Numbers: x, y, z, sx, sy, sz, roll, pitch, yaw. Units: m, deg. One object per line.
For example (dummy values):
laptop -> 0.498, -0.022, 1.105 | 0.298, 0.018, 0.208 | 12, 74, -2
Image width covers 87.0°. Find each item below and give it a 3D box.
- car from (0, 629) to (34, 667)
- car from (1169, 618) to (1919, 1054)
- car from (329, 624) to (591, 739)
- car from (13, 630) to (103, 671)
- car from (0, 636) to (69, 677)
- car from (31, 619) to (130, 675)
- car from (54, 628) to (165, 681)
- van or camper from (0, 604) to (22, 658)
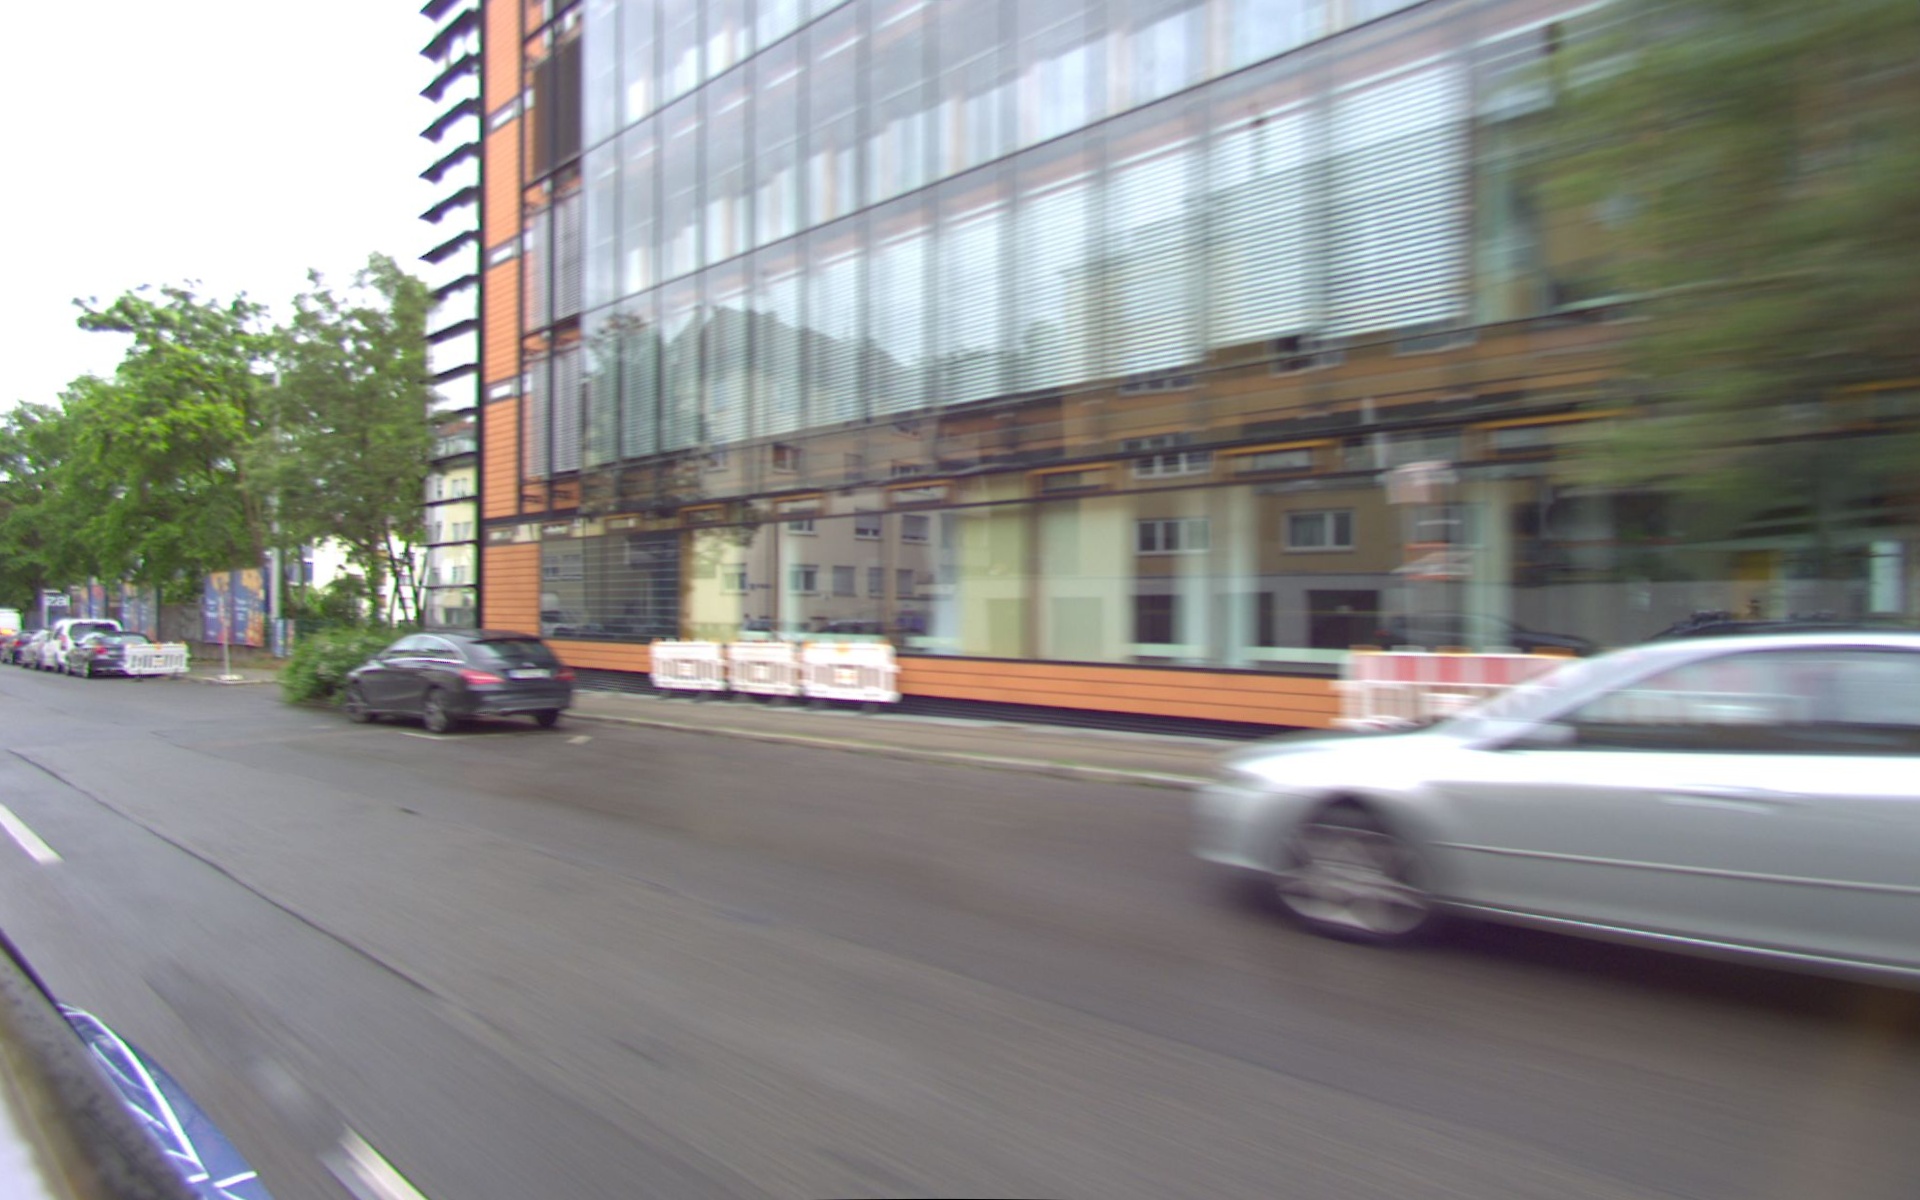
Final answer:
car -> -45.255, 2.249, 47.654 | 3.997, 1.586, 1.973 | 0, 0, 40
car -> 3.397, 0.788, 4.232 | 4.641, 1.405, 1.839 | -2, -2, 40
car -> -7.491, 1.118, 15.015 | 4.323, 1.475, 1.707 | -2, -3, 37
car -> -33.360, 1.830, 37.401 | 3.825, 1.363, 1.857 | 0, -1, 39
car -> -38.292, 2.289, 41.647 | 3.514, 1.476, 1.857 | 0, -1, 38
car -> -29.887, 1.536, 34.363 | 3.995, 1.722, 1.857 | 0, -1, 39
car -> -26.040, 1.619, 30.956 | 3.995, 1.409, 1.857 | 0, -1, 39
van or camper -> -49.765, 1.554, 51.787 | 5.549, 2.622, 2.115 | 0, 0, 42
